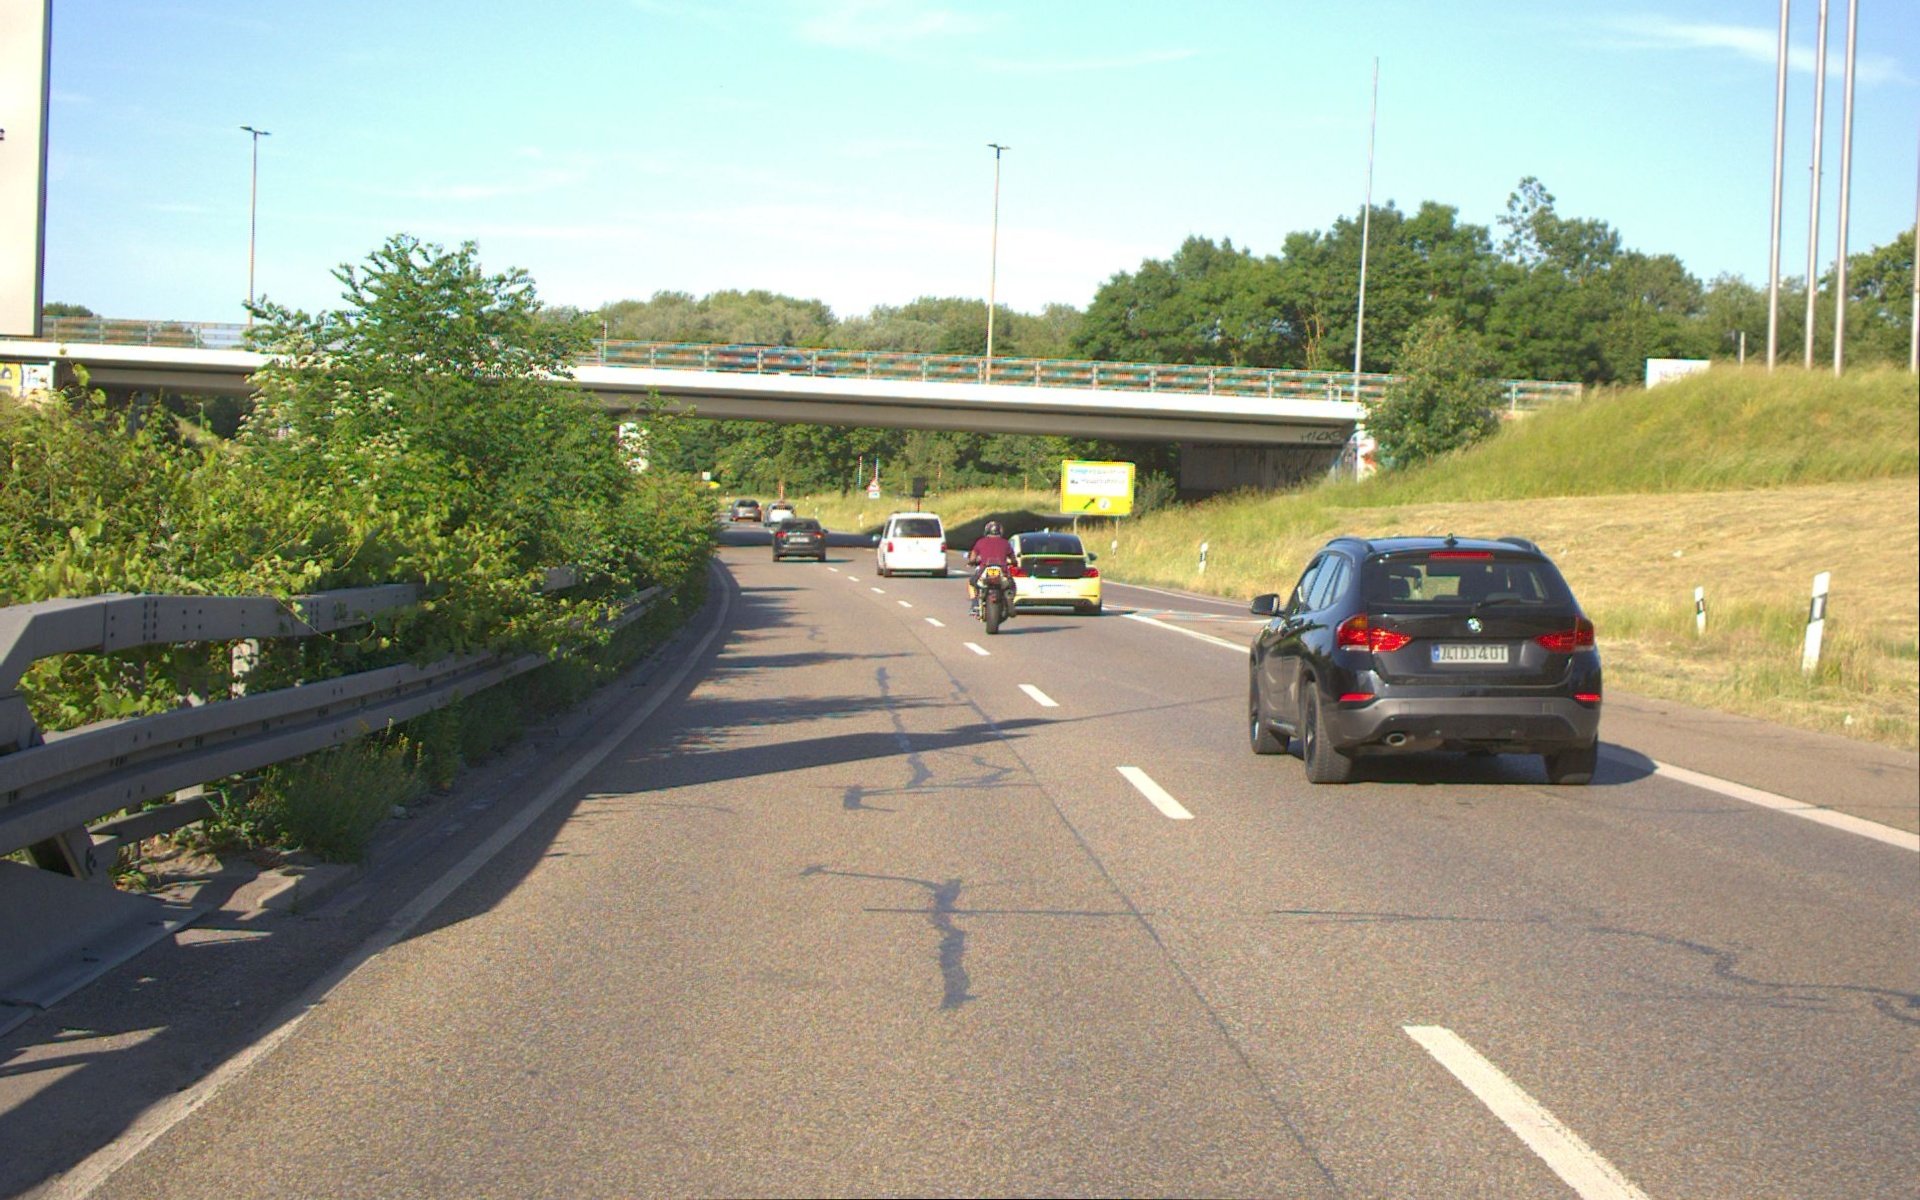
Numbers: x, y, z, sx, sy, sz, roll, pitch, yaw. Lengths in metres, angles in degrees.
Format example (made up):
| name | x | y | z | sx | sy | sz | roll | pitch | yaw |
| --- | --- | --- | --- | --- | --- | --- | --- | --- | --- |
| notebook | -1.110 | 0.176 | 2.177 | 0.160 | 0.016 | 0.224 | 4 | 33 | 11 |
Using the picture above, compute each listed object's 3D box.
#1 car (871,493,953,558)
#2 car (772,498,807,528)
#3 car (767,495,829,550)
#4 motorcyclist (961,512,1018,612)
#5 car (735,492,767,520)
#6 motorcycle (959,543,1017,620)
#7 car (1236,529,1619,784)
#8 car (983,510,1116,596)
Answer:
| name | x | y | z | sx | sy | sz | roll | pitch | yaw |
| --- | --- | --- | --- | --- | --- | --- | --- | --- | --- |
| car | -1.345 | -2.078 | 95.273 | 1.897 | 1.761 | 4.001 | 0 | 2 | -6 |
| car | -10.048 | -5.136 | 202.529 | 1.868 | 1.679 | 4.001 | 2 | 1 | -5 |
| car | -5.506 | -2.631 | 116.250 | 1.897 | 1.761 | 4.001 | 0 | 2 | -5 |
| motorcyclist | 0.434 | -0.572 | 50.966 | 0.816 | 1.442 | 1.094 | 1 | 2 | 0 |
| car | -13.420 | -6.011 | 220.481 | 1.868 | 1.679 | 4.001 | 2 | 1 | -5 |
| motorcycle | 0.422 | -0.291 | 50.943 | 0.816 | 1.066 | 2.836 | 1 | 2 | 1 |
| car | 2.950 | 0.290 | 22.634 | 1.698 | 1.501 | 4.580 | 0 | 1 | -3 |
| car | 1.586 | -0.869 | 62.050 | 1.897 | 1.466 | 4.001 | 0 | 2 | -6 |
